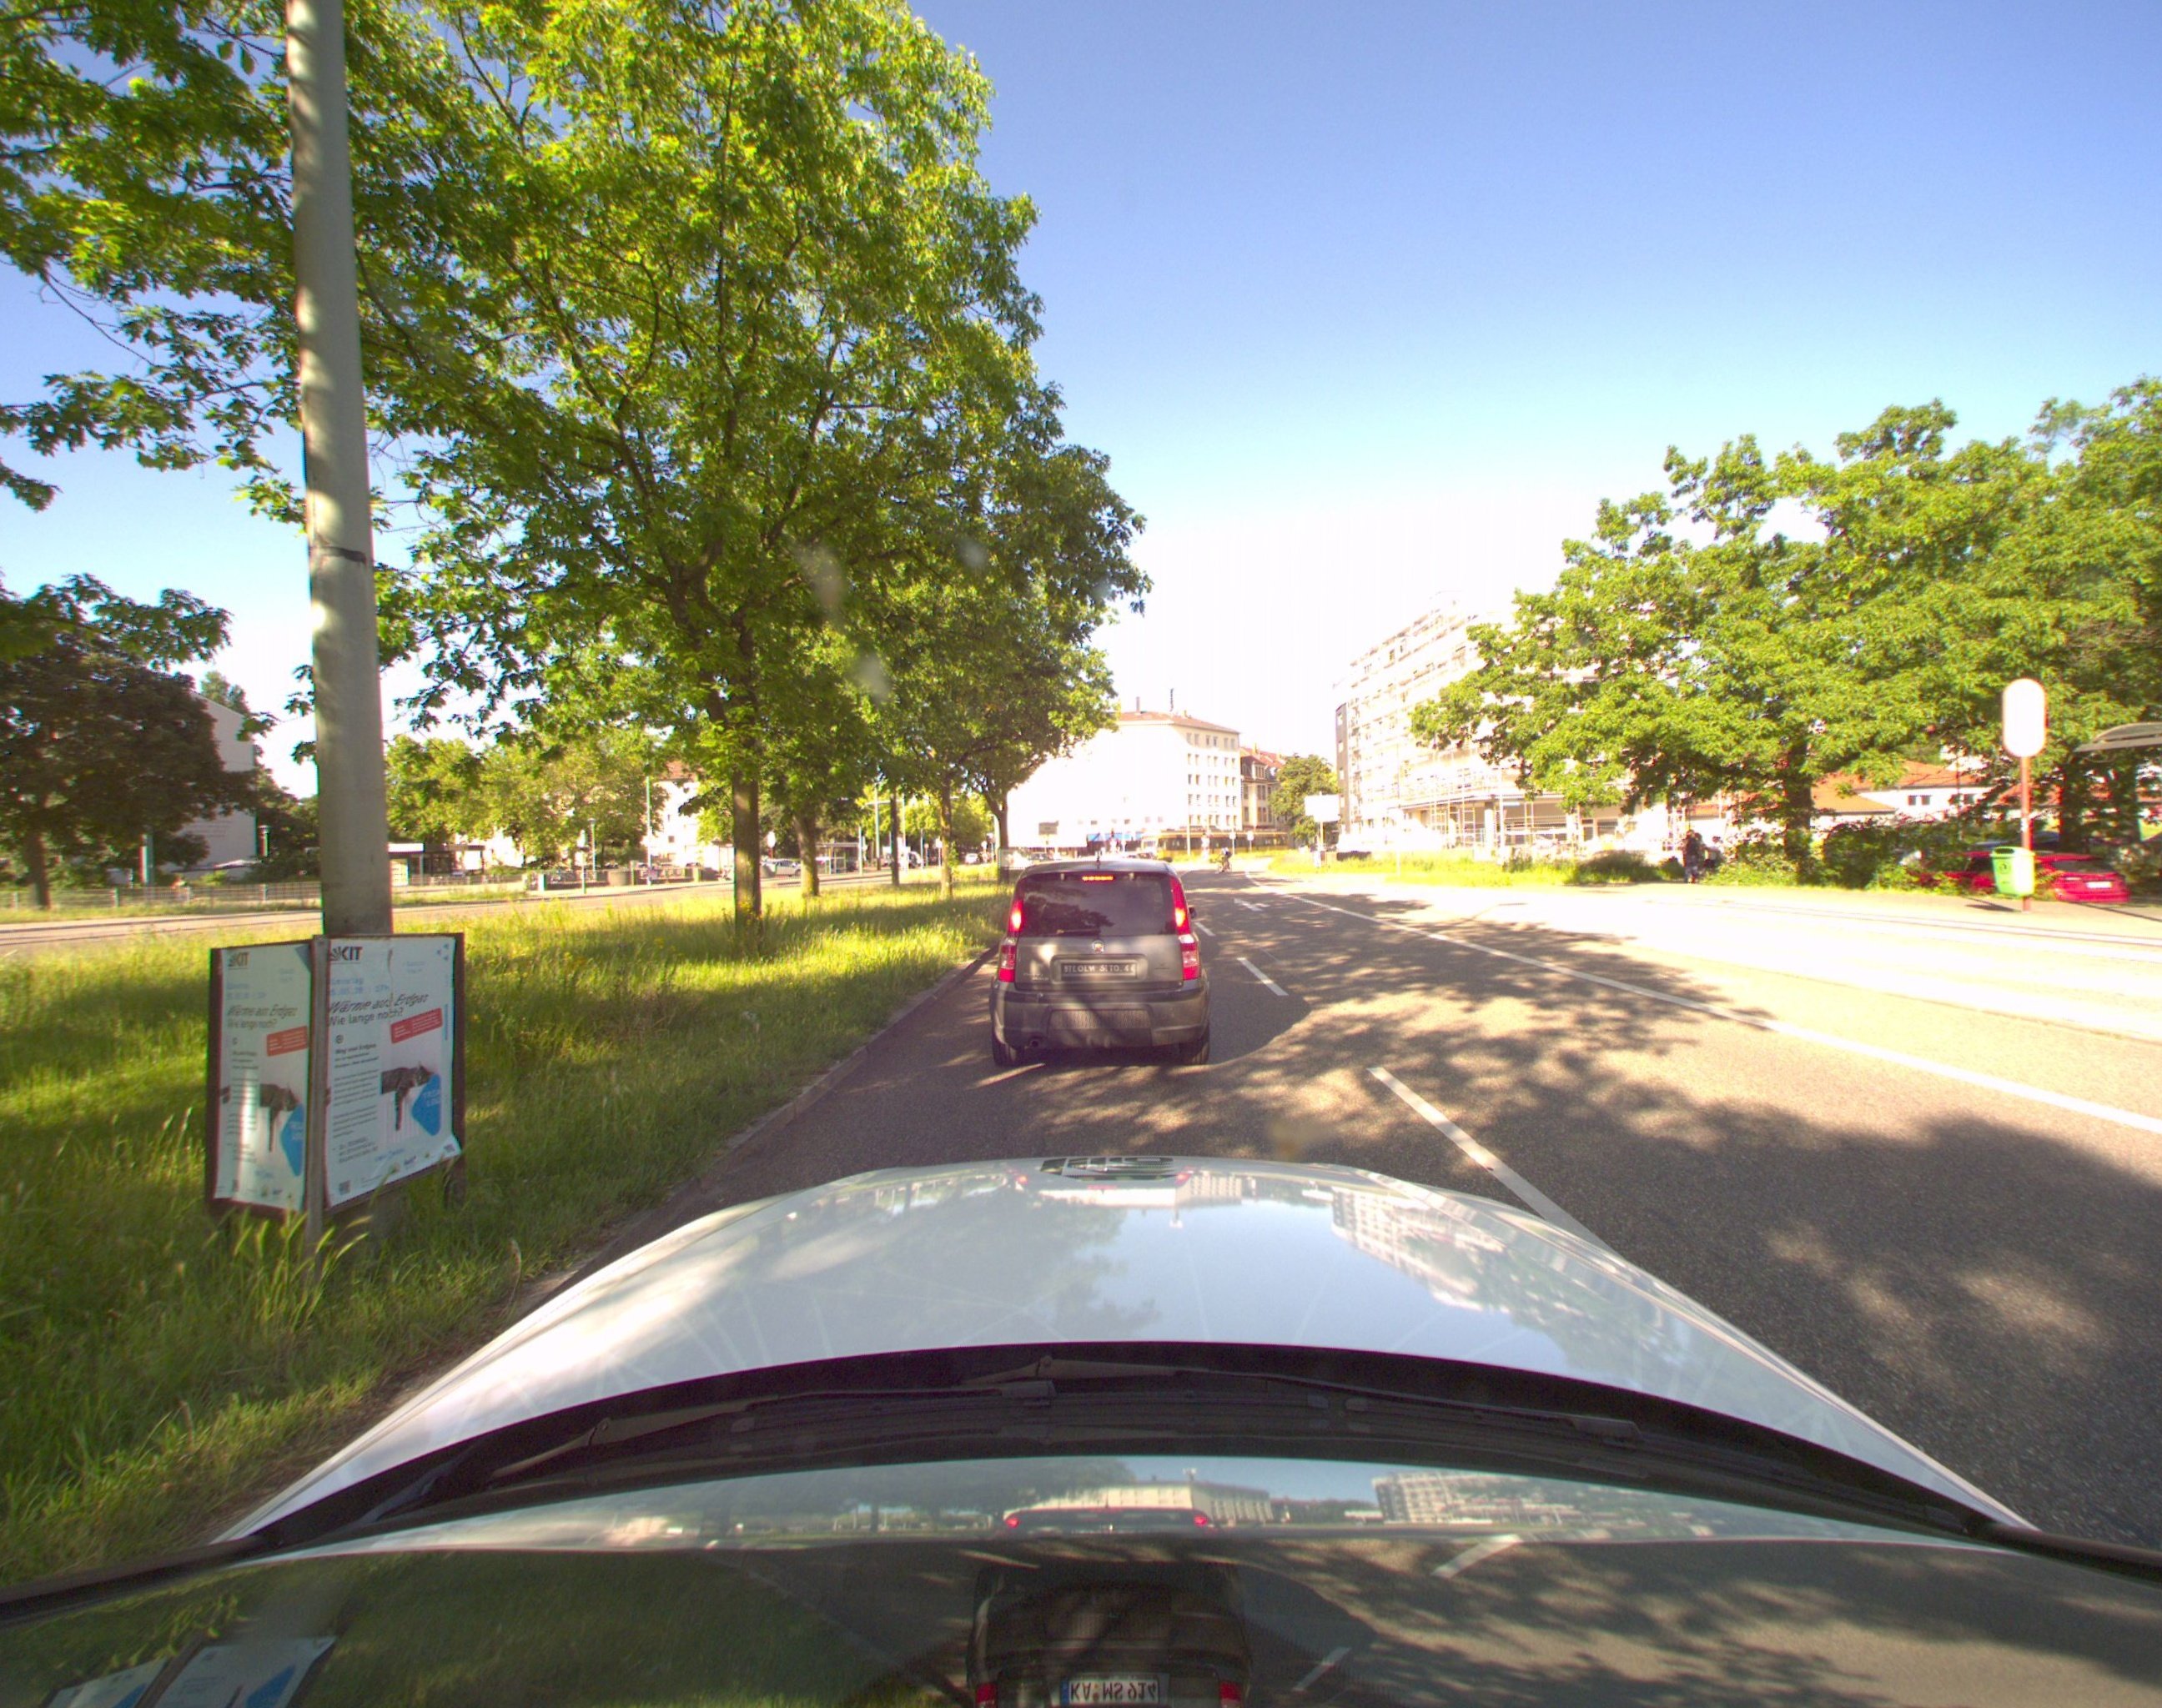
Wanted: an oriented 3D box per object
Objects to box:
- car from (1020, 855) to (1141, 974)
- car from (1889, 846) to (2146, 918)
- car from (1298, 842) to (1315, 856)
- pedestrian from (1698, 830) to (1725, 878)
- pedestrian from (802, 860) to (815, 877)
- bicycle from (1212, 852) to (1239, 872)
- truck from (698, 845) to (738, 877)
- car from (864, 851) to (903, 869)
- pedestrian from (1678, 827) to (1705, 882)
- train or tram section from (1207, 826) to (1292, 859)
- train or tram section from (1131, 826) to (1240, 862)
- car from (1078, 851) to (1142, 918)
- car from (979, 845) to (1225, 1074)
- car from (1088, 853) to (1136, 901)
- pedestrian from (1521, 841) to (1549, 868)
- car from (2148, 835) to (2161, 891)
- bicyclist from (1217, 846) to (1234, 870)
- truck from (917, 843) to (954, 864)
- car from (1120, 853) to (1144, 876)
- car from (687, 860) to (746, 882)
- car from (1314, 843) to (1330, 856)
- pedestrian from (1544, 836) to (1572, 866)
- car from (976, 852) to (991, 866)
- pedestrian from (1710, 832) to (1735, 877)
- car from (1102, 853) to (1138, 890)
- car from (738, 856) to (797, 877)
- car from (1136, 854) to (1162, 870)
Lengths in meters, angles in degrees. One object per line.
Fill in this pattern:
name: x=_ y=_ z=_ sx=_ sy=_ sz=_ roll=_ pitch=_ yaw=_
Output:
car: x=0.050 y=0.747 z=11.763 sx=1.458 sy=1.401 sz=3.395 roll=-2 pitch=0 yaw=2
car: x=21.987 y=0.598 z=19.376 sx=1.747 sy=1.486 sz=3.743 roll=-2 pitch=0 yaw=-2
car: x=24.911 y=-0.536 z=89.999 sx=1.669 sy=1.449 sz=3.588 roll=-2 pitch=0 yaw=18
pedestrian: x=19.185 y=0.003 z=24.782 sx=0.516 sy=1.447 sz=0.595 roll=-2 pitch=0 yaw=28
pedestrian: x=-26.233 y=1.424 z=78.460 sx=0.910 sy=1.607 sz=0.802 roll=-2 pitch=0 yaw=41
bicycle: x=8.834 y=0.511 z=49.838 sx=0.709 sy=1.198 sz=2.509 roll=0 pitch=-1 yaw=-12
truck: x=-33.078 y=0.634 z=74.202 sx=2.012 sy=2.805 sz=3.951 roll=-2 pitch=0 yaw=-44
car: x=-24.002 y=0.720 z=98.890 sx=4.164 sy=2.013 sz=1.931 roll=-2 pitch=0 yaw=-1
pedestrian: x=18.535 y=0.013 z=24.728 sx=0.516 sy=1.612 sz=0.595 roll=-2 pitch=0 yaw=28
train or tram section: x=21.991 y=-1.575 z=104.071 sx=3.263 sy=3.770 sz=20.943 roll=-2 pitch=0 yaw=33
train or tram section: x=11.819 y=-1.189 z=88.438 sx=3.263 sy=3.513 sz=19.509 roll=-2 pitch=0 yaw=34
car: x=0.726 y=0.698 z=20.795 sx=1.458 sy=1.508 sz=3.506 roll=-2 pitch=0 yaw=2
car: x=0.206 y=0.703 z=7.535 sx=1.622 sy=1.508 sz=4.002 roll=-2 pitch=0 yaw=2
car: x=1.028 y=0.727 z=27.355 sx=1.458 sy=1.424 sz=3.383 roll=-2 pitch=0 yaw=2
pedestrian: x=25.072 y=0.025 z=44.968 sx=0.893 sy=1.447 sz=0.962 roll=-2 pitch=0 yaw=-13
car: x=29.862 y=0.213 z=20.180 sx=1.911 sy=1.486 sz=3.725 roll=-2 pitch=0 yaw=-17
bicyclist: x=8.808 y=0.249 z=49.779 sx=0.742 sy=1.438 sz=0.841 roll=0 pitch=-1 yaw=-12
truck: x=-23.013 y=-0.139 z=128.570 sx=5.425 sy=3.168 sz=2.358 roll=-2 pitch=0 yaw=30
car: x=3.094 y=0.621 z=49.678 sx=1.351 sy=1.281 sz=2.877 roll=-2 pitch=0 yaw=2
car: x=-30.344 y=1.416 z=67.840 sx=1.974 sy=1.684 sz=4.025 roll=-2 pitch=0 yaw=40
car: x=27.737 y=-0.533 z=93.561 sx=1.514 sy=1.314 sz=3.304 roll=-2 pitch=0 yaw=20
pedestrian: x=26.282 y=-0.161 z=44.884 sx=0.892 sy=1.653 sz=0.980 roll=-2 pitch=0 yaw=-22
car: x=-14.846 y=0.734 z=124.159 sx=1.988 sy=2.013 sz=3.997 roll=-2 pitch=0 yaw=-2
pedestrian: x=20.897 y=0.014 z=26.549 sx=0.516 sy=1.447 sz=0.595 roll=-2 pitch=0 yaw=28
car: x=1.601 y=0.692 z=33.968 sx=1.351 sy=1.449 sz=3.267 roll=-2 pitch=0 yaw=2
car: x=-27.321 y=1.070 z=71.066 sx=1.974 sy=1.684 sz=4.348 roll=-2 pitch=0 yaw=40
car: x=4.863 y=0.576 z=57.717 sx=1.133 sy=1.064 sz=2.735 roll=-2 pitch=0 yaw=19
